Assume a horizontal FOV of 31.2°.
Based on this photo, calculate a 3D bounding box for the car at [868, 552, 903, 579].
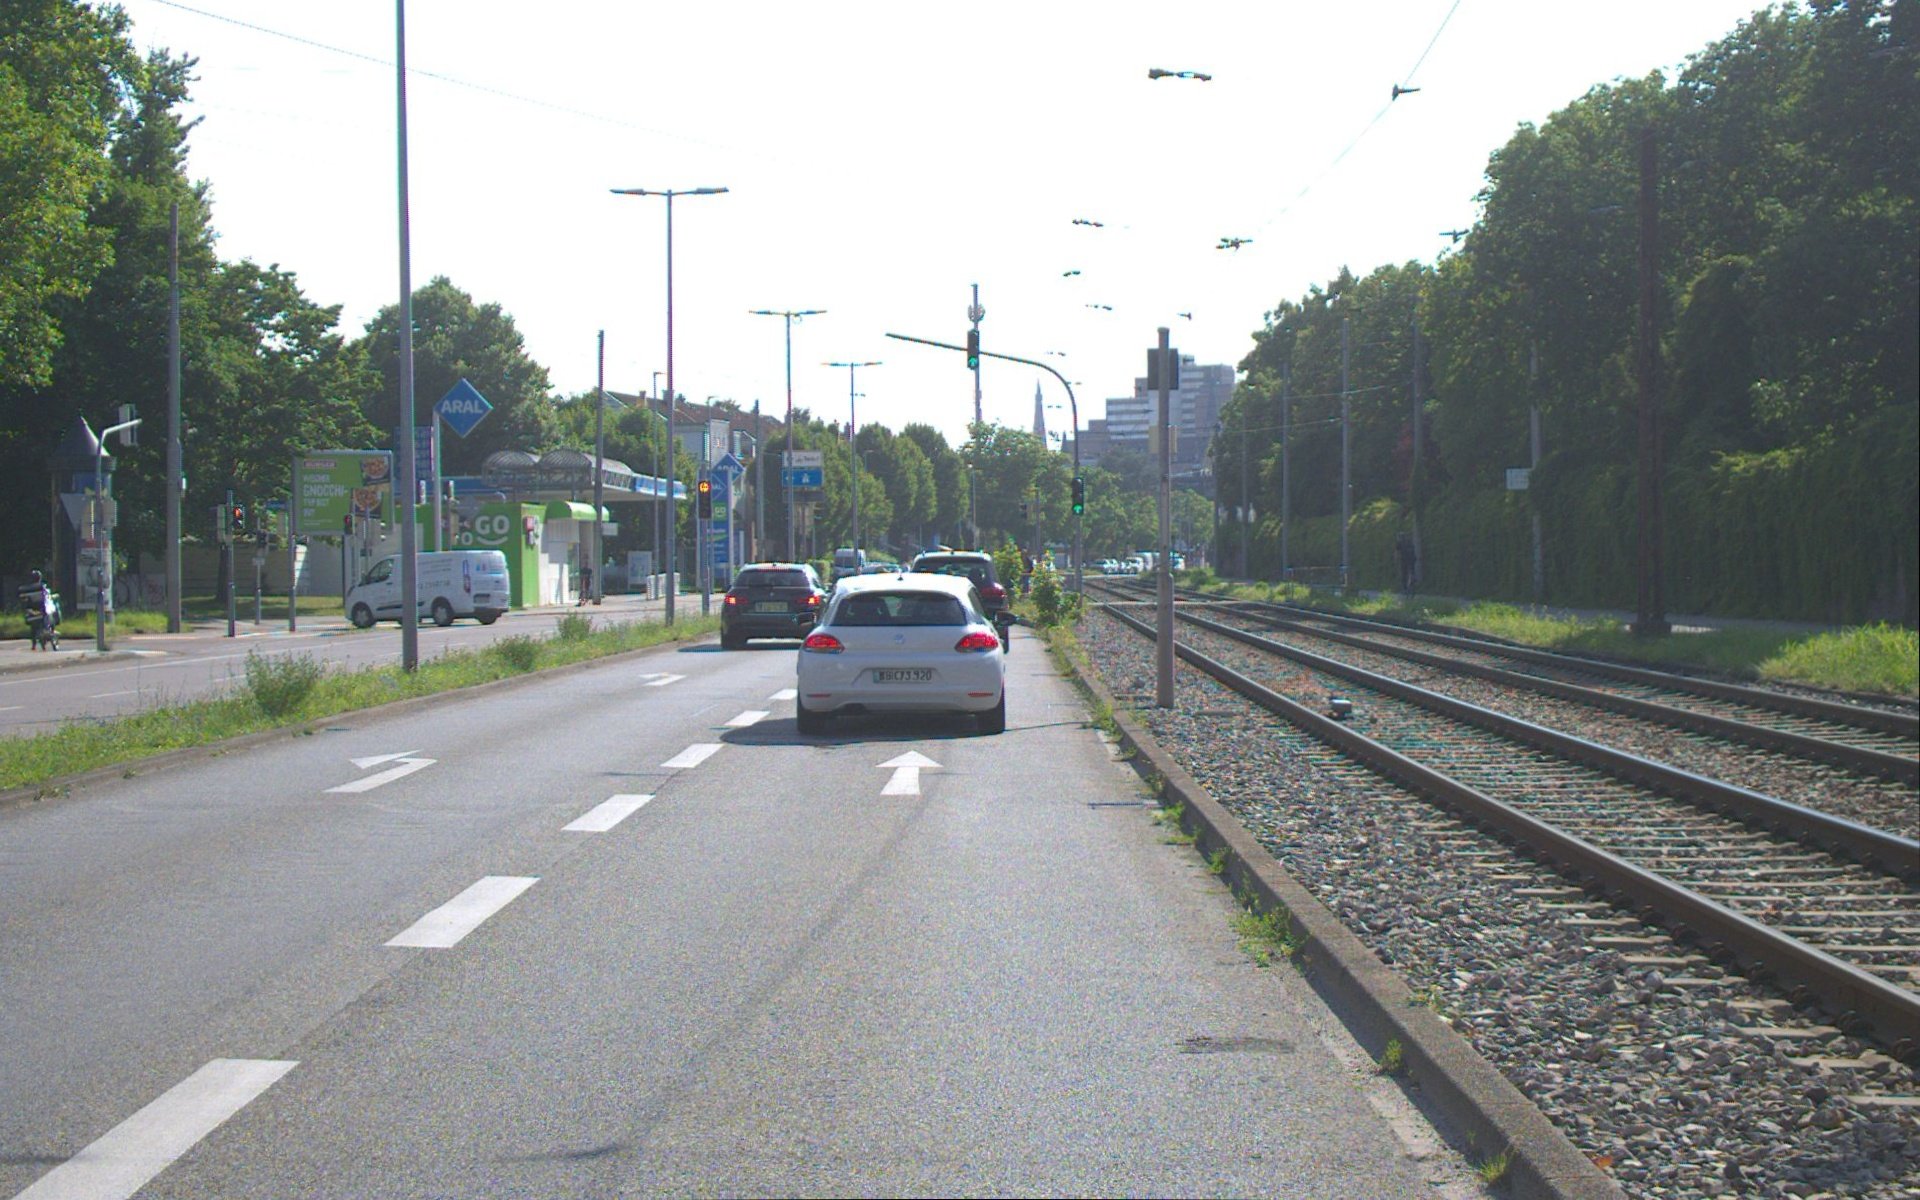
[{"bbox_3d":[-3.969,-1.823,183.028,1.653,1.390,4.134,-1,1,1],"label":"car"}]

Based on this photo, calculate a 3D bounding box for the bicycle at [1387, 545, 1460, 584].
[{"bbox_3d":[13.645,-1.044,101.201,1.923,1.111,0.946,-1,1,26],"label":"bicycle"}]

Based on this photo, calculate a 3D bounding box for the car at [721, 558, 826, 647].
[{"bbox_3d":[-3.283,0.012,60.781,1.760,1.480,4.645,1,1,-3],"label":"car"}]

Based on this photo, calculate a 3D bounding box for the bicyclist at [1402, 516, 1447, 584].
[{"bbox_3d":[13.672,-1.465,101.183,1.034,1.987,0.946,-1,1,26],"label":"bicyclist"}]

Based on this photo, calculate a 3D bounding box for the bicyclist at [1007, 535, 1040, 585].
[{"bbox_3d":[1.862,-1.169,100.959,0.644,1.411,1.012,-3,-1,16],"label":"bicyclist"}]

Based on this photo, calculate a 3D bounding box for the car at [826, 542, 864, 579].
[{"bbox_3d":[-7.722,-2.658,231.110,1.994,2.368,4.538,-1,1,5],"label":"car"}]

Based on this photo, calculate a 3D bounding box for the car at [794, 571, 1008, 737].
[{"bbox_3d":[-0.487,0.437,30.723,1.781,1.351,3.601,1,1,0],"label":"car"}]

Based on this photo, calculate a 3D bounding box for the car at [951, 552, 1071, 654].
[{"bbox_3d":[0.811,0.028,56.327,1.724,1.587,3.601,1,1,-3],"label":"car"}]

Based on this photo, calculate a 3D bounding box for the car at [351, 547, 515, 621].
[{"bbox_3d":[-14.282,-0.427,93.043,4.397,1.956,1.820,-1,0,37],"label":"car"}]

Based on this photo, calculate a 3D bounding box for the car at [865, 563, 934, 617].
[{"bbox_3d":[-1.705,-0.304,97.840,1.749,1.480,3.601,1,1,2],"label":"car"}]

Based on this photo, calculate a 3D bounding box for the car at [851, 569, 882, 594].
[{"bbox_3d":[-5.441,-1.111,200.832,1.574,1.412,3.333,-1,1,2],"label":"car"}]

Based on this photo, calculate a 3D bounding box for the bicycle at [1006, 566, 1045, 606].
[{"bbox_3d":[1.924,-0.416,100.977,0.644,1.150,1.935,-1,1,16],"label":"bicycle"}]

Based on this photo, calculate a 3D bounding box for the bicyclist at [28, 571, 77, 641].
[{"bbox_3d":[-19.062,0.126,72.188,0.662,1.447,1.051,-1,0,5],"label":"bicyclist"}]

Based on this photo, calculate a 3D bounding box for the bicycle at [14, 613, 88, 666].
[{"bbox_3d":[-19.056,0.825,72.097,0.662,1.046,2.580,-1,1,5],"label":"bicycle"}]
